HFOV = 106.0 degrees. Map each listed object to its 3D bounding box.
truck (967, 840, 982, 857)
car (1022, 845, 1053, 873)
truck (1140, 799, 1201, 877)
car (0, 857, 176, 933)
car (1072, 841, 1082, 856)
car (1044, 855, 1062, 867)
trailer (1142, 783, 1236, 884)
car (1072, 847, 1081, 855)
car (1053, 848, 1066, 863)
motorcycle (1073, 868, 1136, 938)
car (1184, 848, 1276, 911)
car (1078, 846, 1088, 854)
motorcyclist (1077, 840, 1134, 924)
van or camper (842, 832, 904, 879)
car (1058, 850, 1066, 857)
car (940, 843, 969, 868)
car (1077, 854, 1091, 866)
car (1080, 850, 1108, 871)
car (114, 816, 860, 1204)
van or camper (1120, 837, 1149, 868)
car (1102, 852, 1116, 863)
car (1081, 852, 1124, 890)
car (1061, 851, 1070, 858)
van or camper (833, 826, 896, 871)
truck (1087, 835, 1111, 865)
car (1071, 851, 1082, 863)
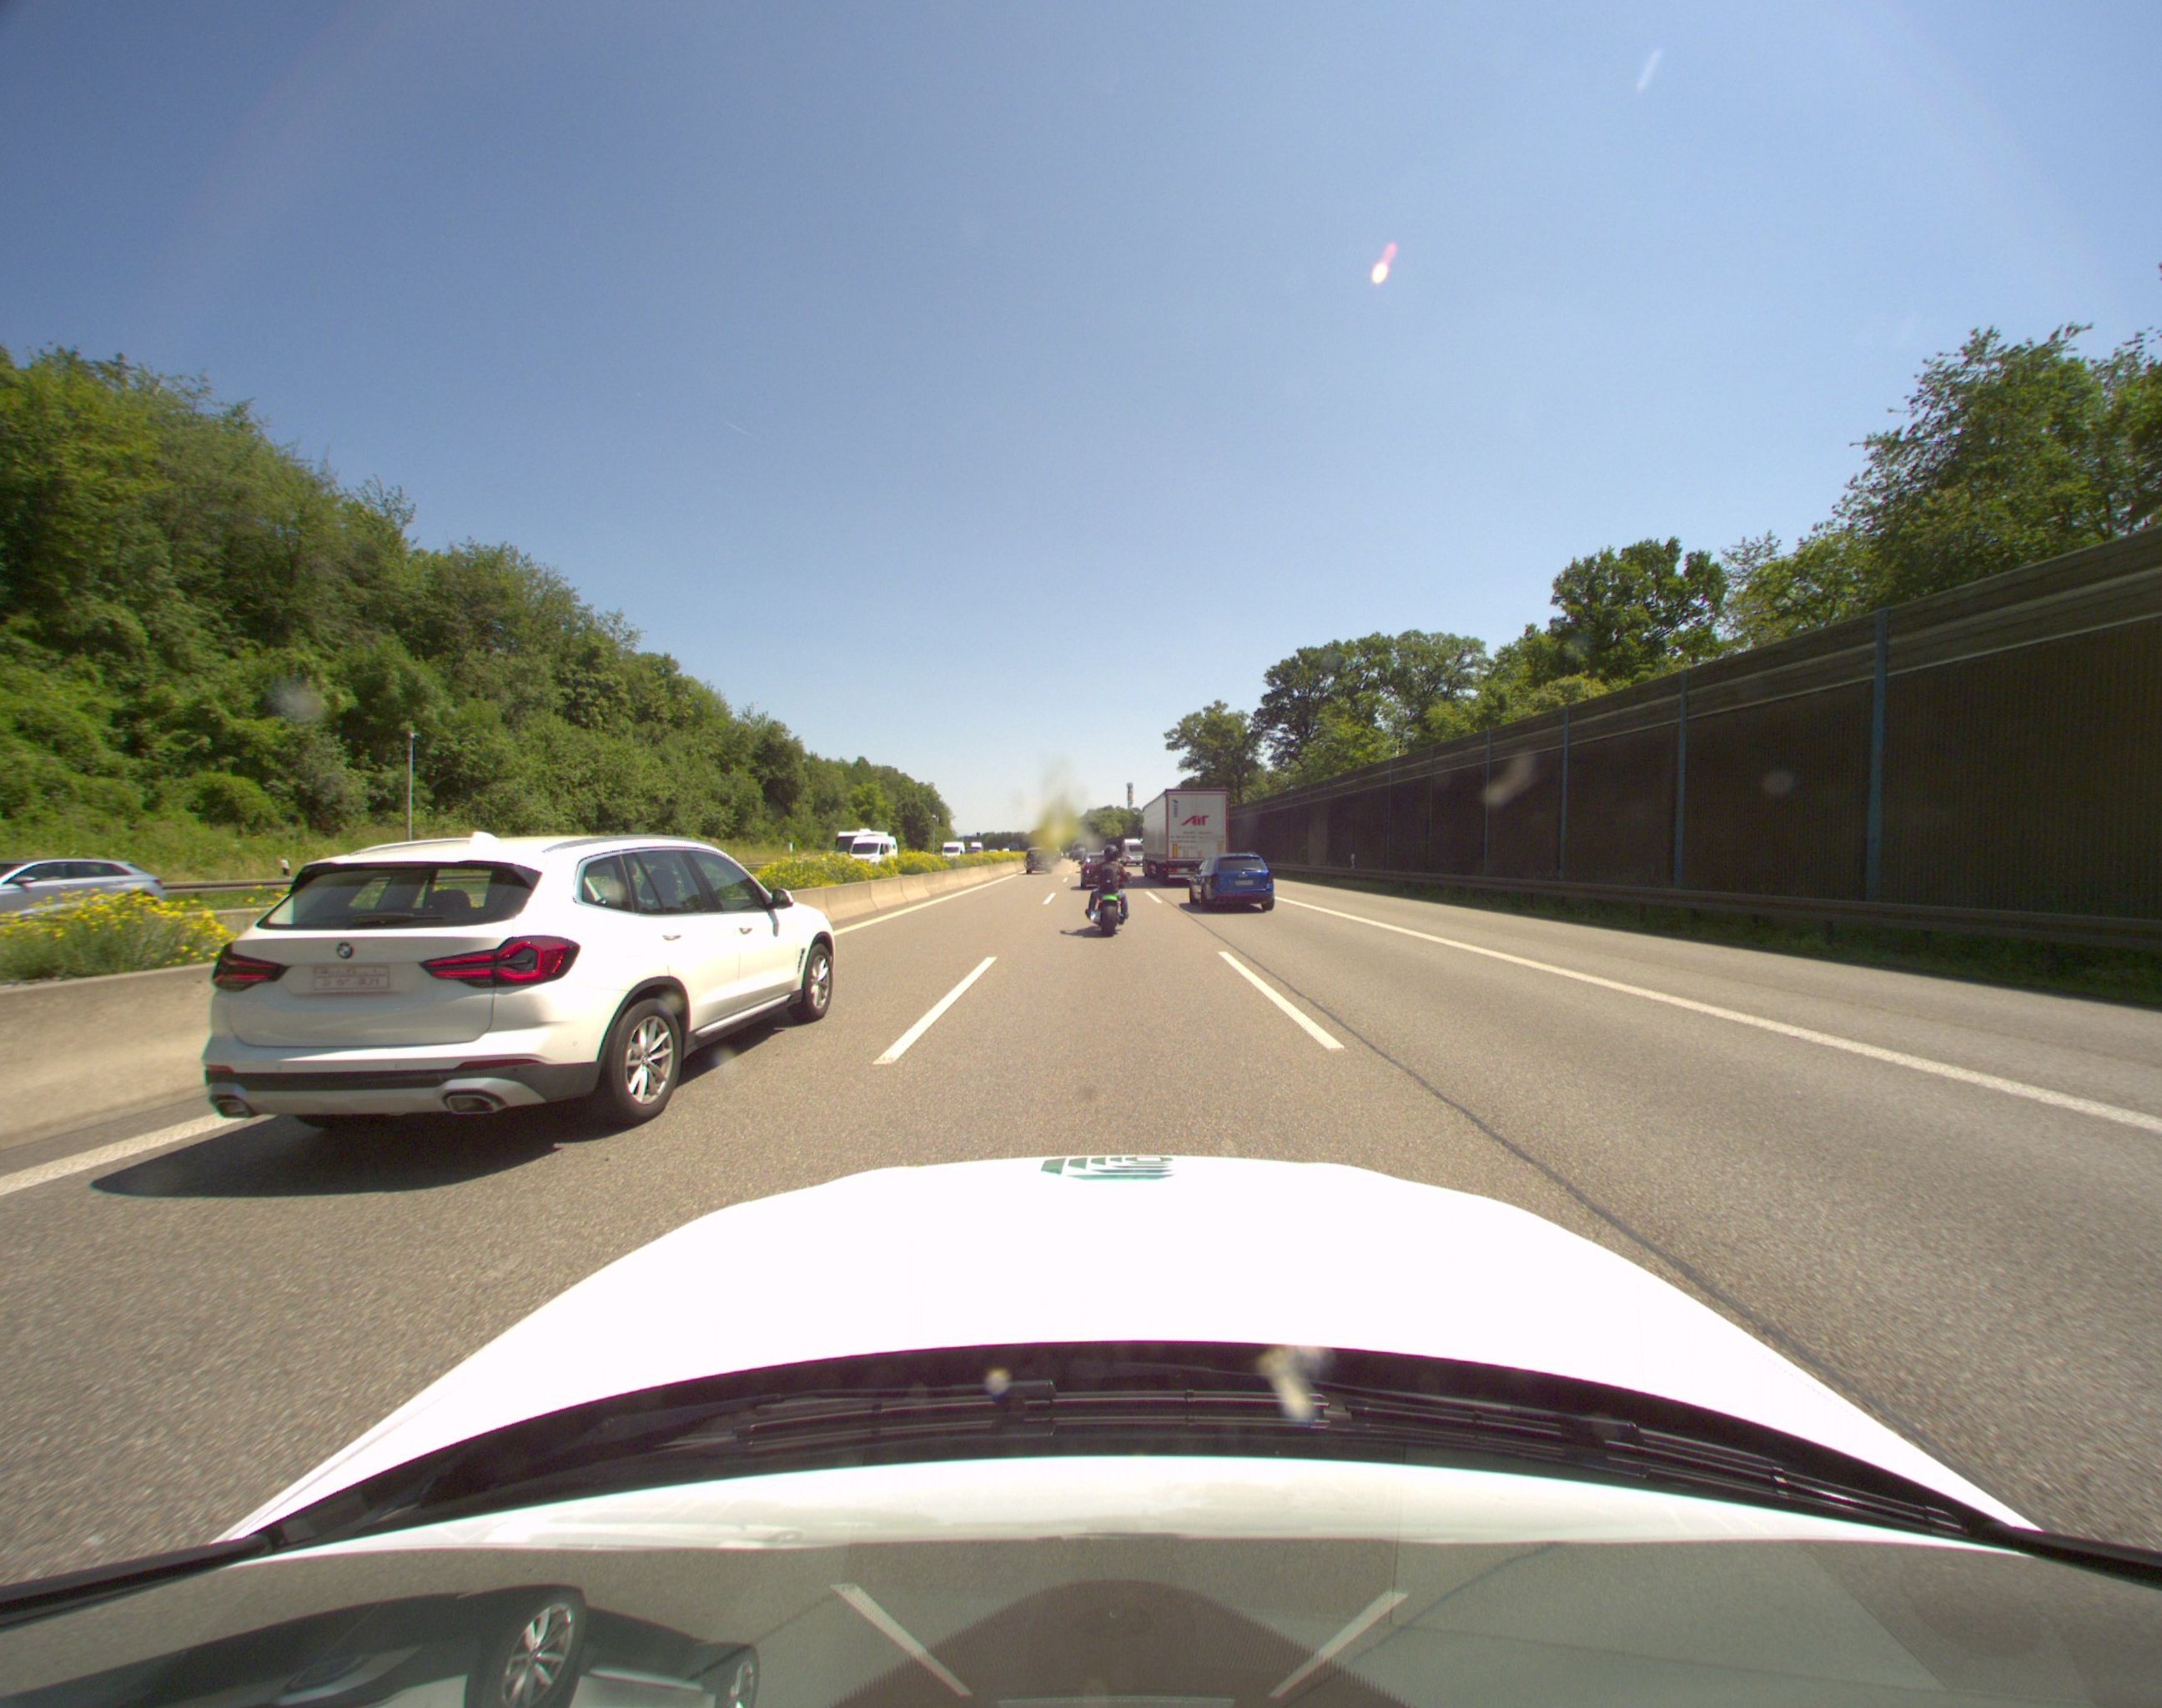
[{"bbox_3d":[-26.723,-1.288,204.077,2.956,4.107,6.083,-1,-1,-2],"label":"truck"},{"bbox_3d":[-3.036,0.409,57.589,1.893,1.874,4.410,-1,-1,-1],"label":"car"},{"bbox_3d":[5.015,-0.886,46.792,2.876,4.146,5.986,-1,0,1],"label":"truck"},{"bbox_3d":[-21.573,0.812,16.369,1.986,1.432,4.193,-1,0,1],"label":"car"},{"bbox_3d":[-1.073,-1.382,215.195,2.129,3.861,8.133,0,0,-3],"label":"car"},{"bbox_3d":[-3.247,0.865,96.738,1.987,1.387,3.999,-1,-1,0],"label":"car"},{"bbox_3d":[4.882,-0.825,39.822,2.876,4.038,13.796,-1,0,1],"label":"trailer"},{"bbox_3d":[-1.139,-0.774,201.440,2.103,1.876,3.995,-1,-1,-3],"label":"car"},{"bbox_3d":[-3.165,0.262,118.747,1.786,2.014,3.640,-1,-1,-1],"label":"car"},{"bbox_3d":[0.501,0.863,15.327,0.959,1.148,2.816,0,0,6],"label":"motorcycle"},{"bbox_3d":[3.855,0.645,21.770,1.645,1.483,4.480,-1,-1,0],"label":"car"},{"bbox_3d":[0.471,-0.903,195.620,2.103,1.876,3.995,-1,-1,-3],"label":"car"},{"bbox_3d":[0.496,0.508,15.340,0.895,1.475,1.875,-1,-1,6],"label":"motorcyclist"},{"bbox_3d":[-13.761,0.076,54.271,2.249,2.899,6.558,-1,0,1],"label":"van or camper"},{"bbox_3d":[-4.765,-0.150,204.645,1.826,1.496,3.744,-1,-1,1],"label":"car"},{"bbox_3d":[-14.149,0.156,91.464,2.193,2.741,5.747,-1,0,0],"label":"car"},{"bbox_3d":[0.414,0.886,120.671,1.988,1.640,3.997,-1,-1,-2],"label":"car"},{"bbox_3d":[0.968,0.486,59.946,1.986,1.430,3.848,-1,-1,1],"label":"car"},{"bbox_3d":[-3.325,0.697,6.109,1.857,1.694,4.957,-1,0,1],"label":"car"},{"bbox_3d":[5.139,-0.091,79.228,2.674,2.813,6.807,-1,-1,3],"label":"van or camper"},{"bbox_3d":[4.343,0.601,126.353,1.987,1.574,3.998,-1,-1,0],"label":"car"},{"bbox_3d":[0.865,0.704,33.974,1.657,1.453,3.868,-1,-1,0],"label":"car"},{"bbox_3d":[-3.267,0.158,176.235,1.826,1.496,3.743,-1,-1,0],"label":"car"},{"bbox_3d":[-17.384,-0.329,65.991,2.531,3.317,9.002,-1,-1,1],"label":"van or camper"},{"bbox_3d":[3.088,-0.637,144.691,3.792,4.960,8.944,-1,-1,-2],"label":"truck"},{"bbox_3d":[-0.826,0.539,150.284,1.906,2.014,3.687,-1,-1,-2],"label":"car"}]
